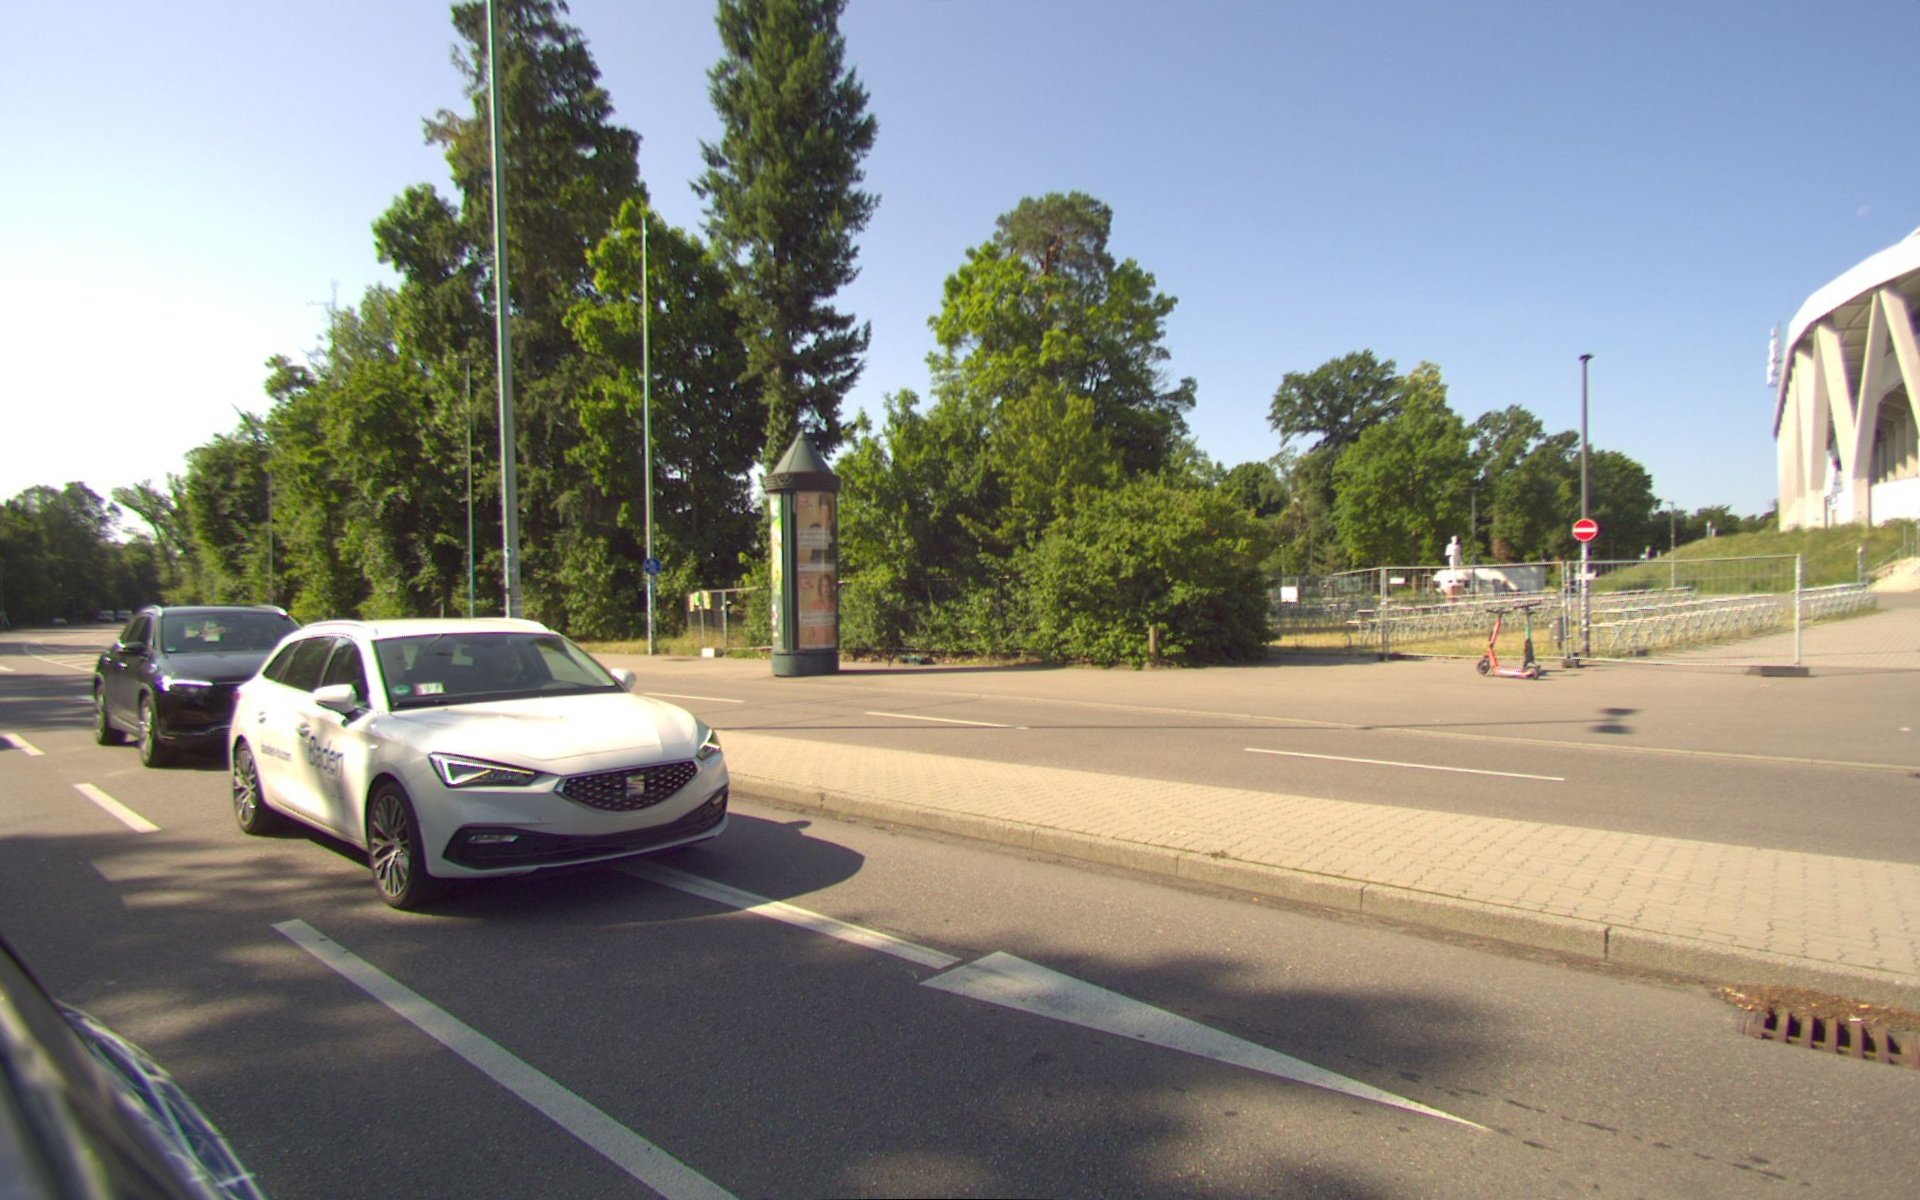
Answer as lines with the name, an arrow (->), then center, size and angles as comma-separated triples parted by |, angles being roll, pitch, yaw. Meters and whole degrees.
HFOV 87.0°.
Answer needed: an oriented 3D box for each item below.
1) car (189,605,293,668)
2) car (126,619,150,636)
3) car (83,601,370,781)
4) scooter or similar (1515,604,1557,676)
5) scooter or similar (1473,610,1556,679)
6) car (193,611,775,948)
car -> -23.129, 1.134, 32.513 | 3.998, 1.874, 1.853 | -1, 0, 41
car -> -84.133, 2.786, 103.557 | 1.829, 1.630, 4.006 | -1, 0, -40
car -> -8.267, 0.883, 11.243 | 4.273, 1.608, 1.785 | -2, -1, 43
scooter or similar -> 10.322, 0.700, 18.157 | 0.392, 1.231, 1.076 | -1, 0, 16
scooter or similar -> 9.654, 0.767, 17.639 | 0.390, 1.154, 1.197 | -1, 0, -44
car -> -3.354, 0.820, 6.564 | 4.718, 1.437, 1.707 | -1, -1, 42
